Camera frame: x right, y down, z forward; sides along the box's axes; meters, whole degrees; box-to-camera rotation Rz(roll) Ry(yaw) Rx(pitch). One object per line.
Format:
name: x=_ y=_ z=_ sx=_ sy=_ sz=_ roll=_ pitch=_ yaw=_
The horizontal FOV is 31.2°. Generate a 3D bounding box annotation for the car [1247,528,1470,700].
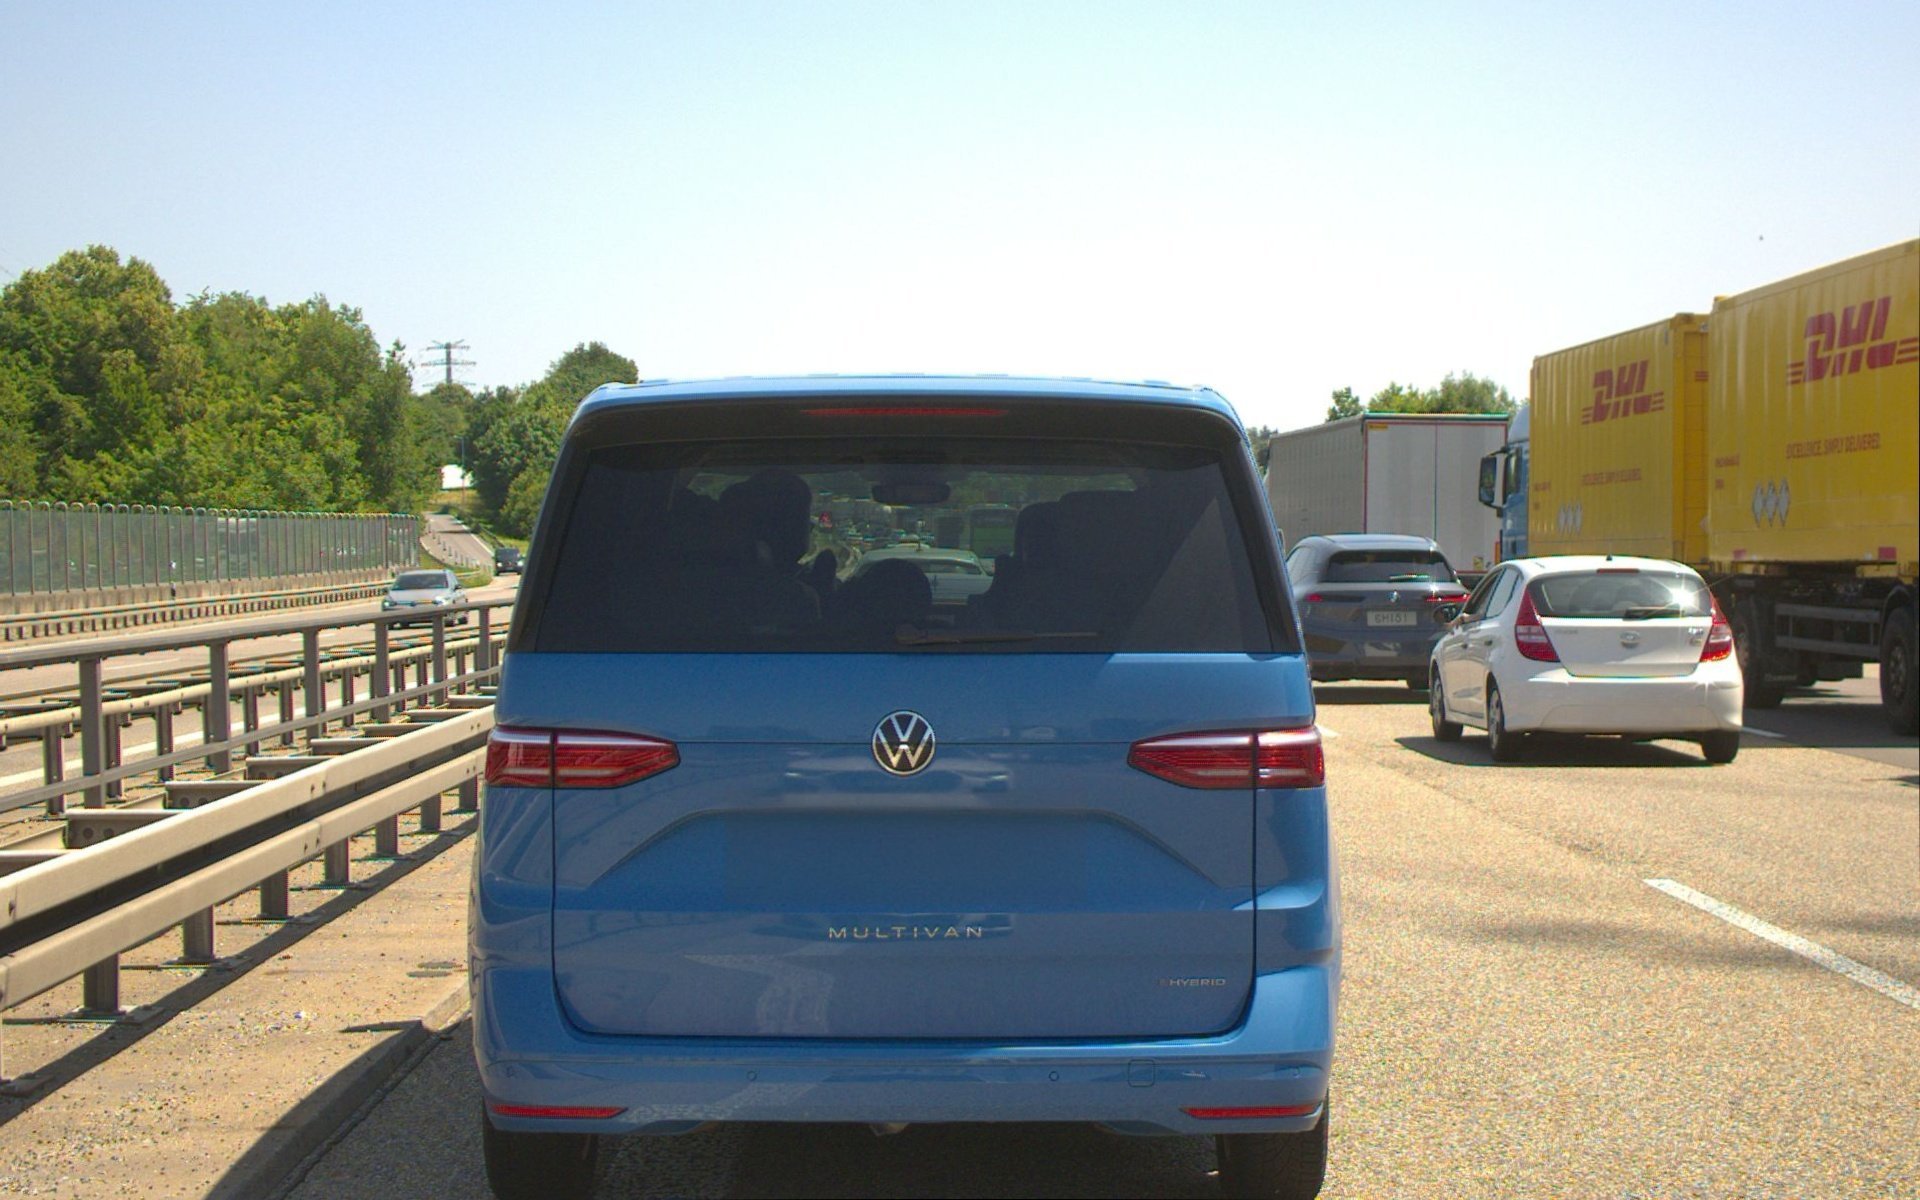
car: x=4.093 y=0.127 z=35.863 sx=1.815 sy=1.673 sz=3.932 roll=1 pitch=0 yaw=-1

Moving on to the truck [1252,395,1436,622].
truck: x=8.198 y=-1.893 z=74.370 sx=3.026 sy=4.595 sz=7.921 roll=1 pitch=0 yaw=0

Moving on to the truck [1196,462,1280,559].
truck: x=7.287 y=-2.328 z=90.553 sx=1.798 sy=2.441 sz=4.504 roll=1 pitch=0 yaw=0

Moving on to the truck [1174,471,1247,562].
truck: x=7.225 y=-2.385 z=99.393 sx=1.742 sy=2.540 sz=4.210 roll=1 pitch=0 yaw=0

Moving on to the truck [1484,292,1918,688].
truck: x=8.454 y=-1.173 z=40.650 sx=2.699 sy=4.074 sz=9.940 roll=1 pitch=0 yaw=-1

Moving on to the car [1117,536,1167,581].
car: x=7.277 y=-1.640 z=137.743 sx=1.797 sy=1.745 sz=3.943 roll=1 pitch=0 yaw=0

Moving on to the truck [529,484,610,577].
truck: x=-18.988 y=-3.348 z=167.508 sx=2.929 sy=4.279 sz=6.858 roll=-3 pitch=0 yaw=1

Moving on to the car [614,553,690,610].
car: x=-9.253 y=-0.568 z=103.574 sx=1.871 sy=1.524 sz=3.609 roll=-6 pitch=1 yaw=-1

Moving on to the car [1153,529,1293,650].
car: x=4.346 y=-0.180 z=57.315 sx=1.962 sy=1.929 sz=3.932 roll=1 pitch=0 yaw=0

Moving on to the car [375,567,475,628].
car: x=-13.529 y=-0.081 z=87.148 sx=1.871 sy=1.437 sz=4.386 roll=-2 pitch=1 yaw=-1

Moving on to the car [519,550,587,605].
car: x=-14.004 y=-0.776 z=118.491 sx=1.839 sy=1.816 sz=4.748 roll=-1 pitch=0 yaw=-1

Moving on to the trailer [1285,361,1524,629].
trailer: x=8.204 y=-1.848 z=64.938 sx=3.026 sy=4.595 sz=10.925 roll=1 pitch=0 yaw=0

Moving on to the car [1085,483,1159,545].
car: x=4.730 y=-2.501 z=100.755 sx=1.919 sy=1.700 sz=4.000 roll=1 pitch=0 yaw=0

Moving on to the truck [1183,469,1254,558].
truck: x=7.853 y=-2.608 z=104.779 sx=1.797 sy=2.587 sz=4.305 roll=1 pitch=0 yaw=0

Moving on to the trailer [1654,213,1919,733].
trailer: x=8.723 y=-1.010 z=31.293 sx=2.682 sy=4.074 sz=8.981 roll=1 pitch=0 yaw=-2

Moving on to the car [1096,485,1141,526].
car: x=7.107 y=-4.241 z=154.330 sx=1.797 sy=1.745 sz=3.943 roll=1 pitch=0 yaw=0

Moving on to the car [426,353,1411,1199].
car: x=-0.099 y=0.447 z=8.821 sx=1.930 sy=1.867 sz=4.000 roll=1 pitch=0 yaw=0

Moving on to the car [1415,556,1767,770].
car: x=4.645 y=0.428 z=25.865 sx=1.815 sy=1.465 sz=3.932 roll=1 pitch=0 yaw=-1
